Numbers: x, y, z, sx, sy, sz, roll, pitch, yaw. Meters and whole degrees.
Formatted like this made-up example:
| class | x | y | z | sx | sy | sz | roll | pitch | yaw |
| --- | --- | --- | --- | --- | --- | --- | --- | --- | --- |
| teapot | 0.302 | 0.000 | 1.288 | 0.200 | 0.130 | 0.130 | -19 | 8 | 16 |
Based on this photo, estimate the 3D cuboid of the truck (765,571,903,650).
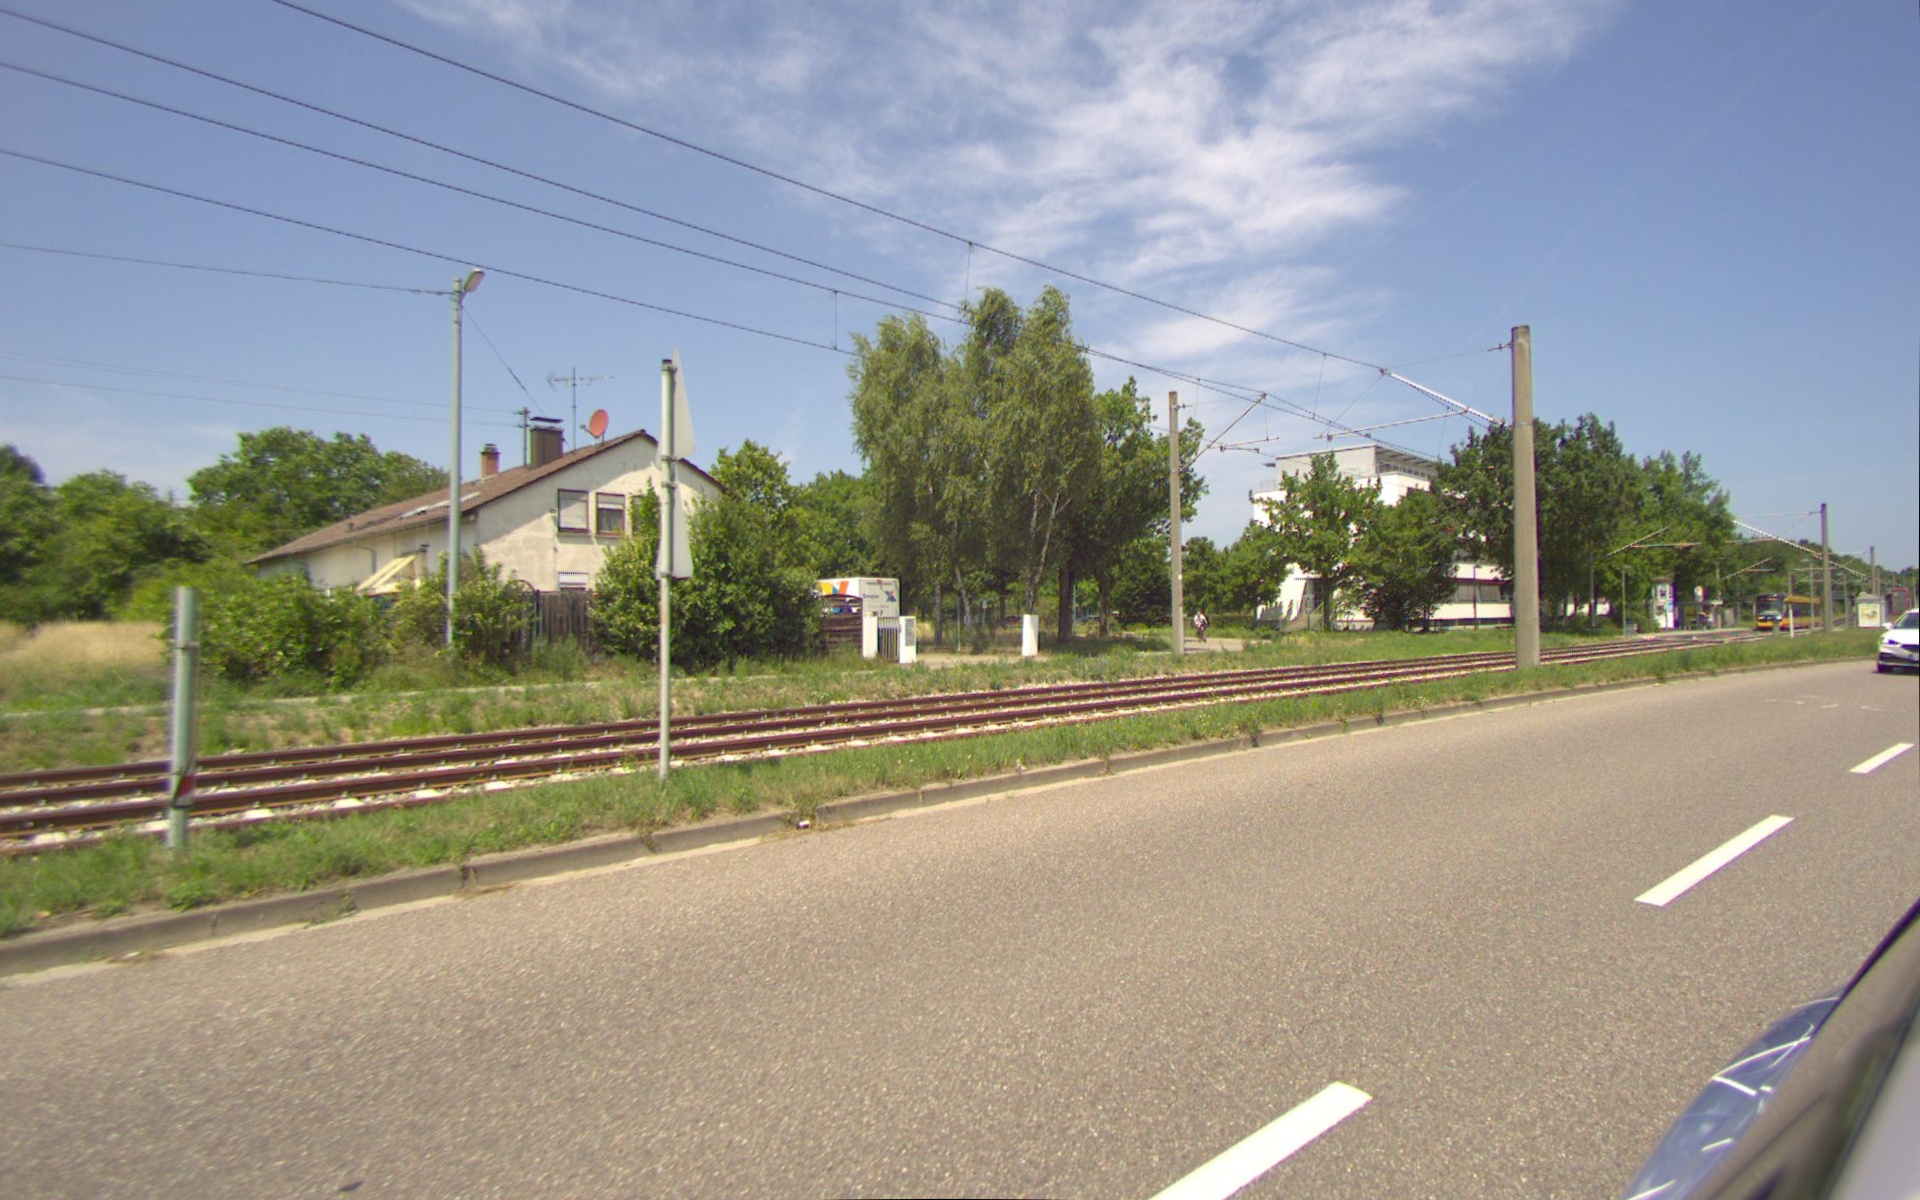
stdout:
| class | x | y | z | sx | sy | sz | roll | pitch | yaw |
| --- | --- | --- | --- | --- | --- | --- | --- | --- | --- |
| truck | -5.034 | 0.368 | 39.770 | 5.841 | 2.879 | 2.283 | 0 | 0 | 45 |

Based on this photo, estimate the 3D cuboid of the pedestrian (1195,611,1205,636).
| class | x | y | z | sx | sy | sz | roll | pitch | yaw |
| --- | --- | --- | --- | --- | --- | --- | --- | --- | --- |
| pedestrian | 13.671 | 1.358 | 57.764 | 0.450 | 1.421 | 0.583 | 0 | -1 | 4 |

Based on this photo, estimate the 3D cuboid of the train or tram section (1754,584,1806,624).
| class | x | y | z | sx | sy | sz | roll | pitch | yaw |
| --- | --- | --- | --- | --- | --- | --- | --- | --- | --- |
| train or tram section | 80.131 | 0.341 | 98.780 | 2.815 | 3.626 | 12.302 | 3 | 2 | 44 |

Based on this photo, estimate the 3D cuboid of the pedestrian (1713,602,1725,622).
| class | x | y | z | sx | sy | sz | roll | pitch | yaw |
| --- | --- | --- | --- | --- | --- | --- | --- | --- | --- |
| pedestrian | 64.229 | 0.996 | 85.678 | 0.678 | 1.629 | 0.553 | 0 | -3 | -38 |

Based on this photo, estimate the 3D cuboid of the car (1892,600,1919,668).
| class | x | y | z | sx | sy | sz | roll | pitch | yaw |
| --- | --- | --- | --- | --- | --- | --- | --- | --- | --- |
| car | 21.859 | 0.719 | 22.074 | 4.371 | 1.407 | 1.686 | 0 | 0 | -39 |

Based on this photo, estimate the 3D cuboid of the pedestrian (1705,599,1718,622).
| class | x | y | z | sx | sy | sz | roll | pitch | yaw |
| --- | --- | --- | --- | --- | --- | --- | --- | --- | --- |
| pedestrian | 61.773 | 0.898 | 83.192 | 0.692 | 1.866 | 0.702 | -4 | -3 | 36 |
